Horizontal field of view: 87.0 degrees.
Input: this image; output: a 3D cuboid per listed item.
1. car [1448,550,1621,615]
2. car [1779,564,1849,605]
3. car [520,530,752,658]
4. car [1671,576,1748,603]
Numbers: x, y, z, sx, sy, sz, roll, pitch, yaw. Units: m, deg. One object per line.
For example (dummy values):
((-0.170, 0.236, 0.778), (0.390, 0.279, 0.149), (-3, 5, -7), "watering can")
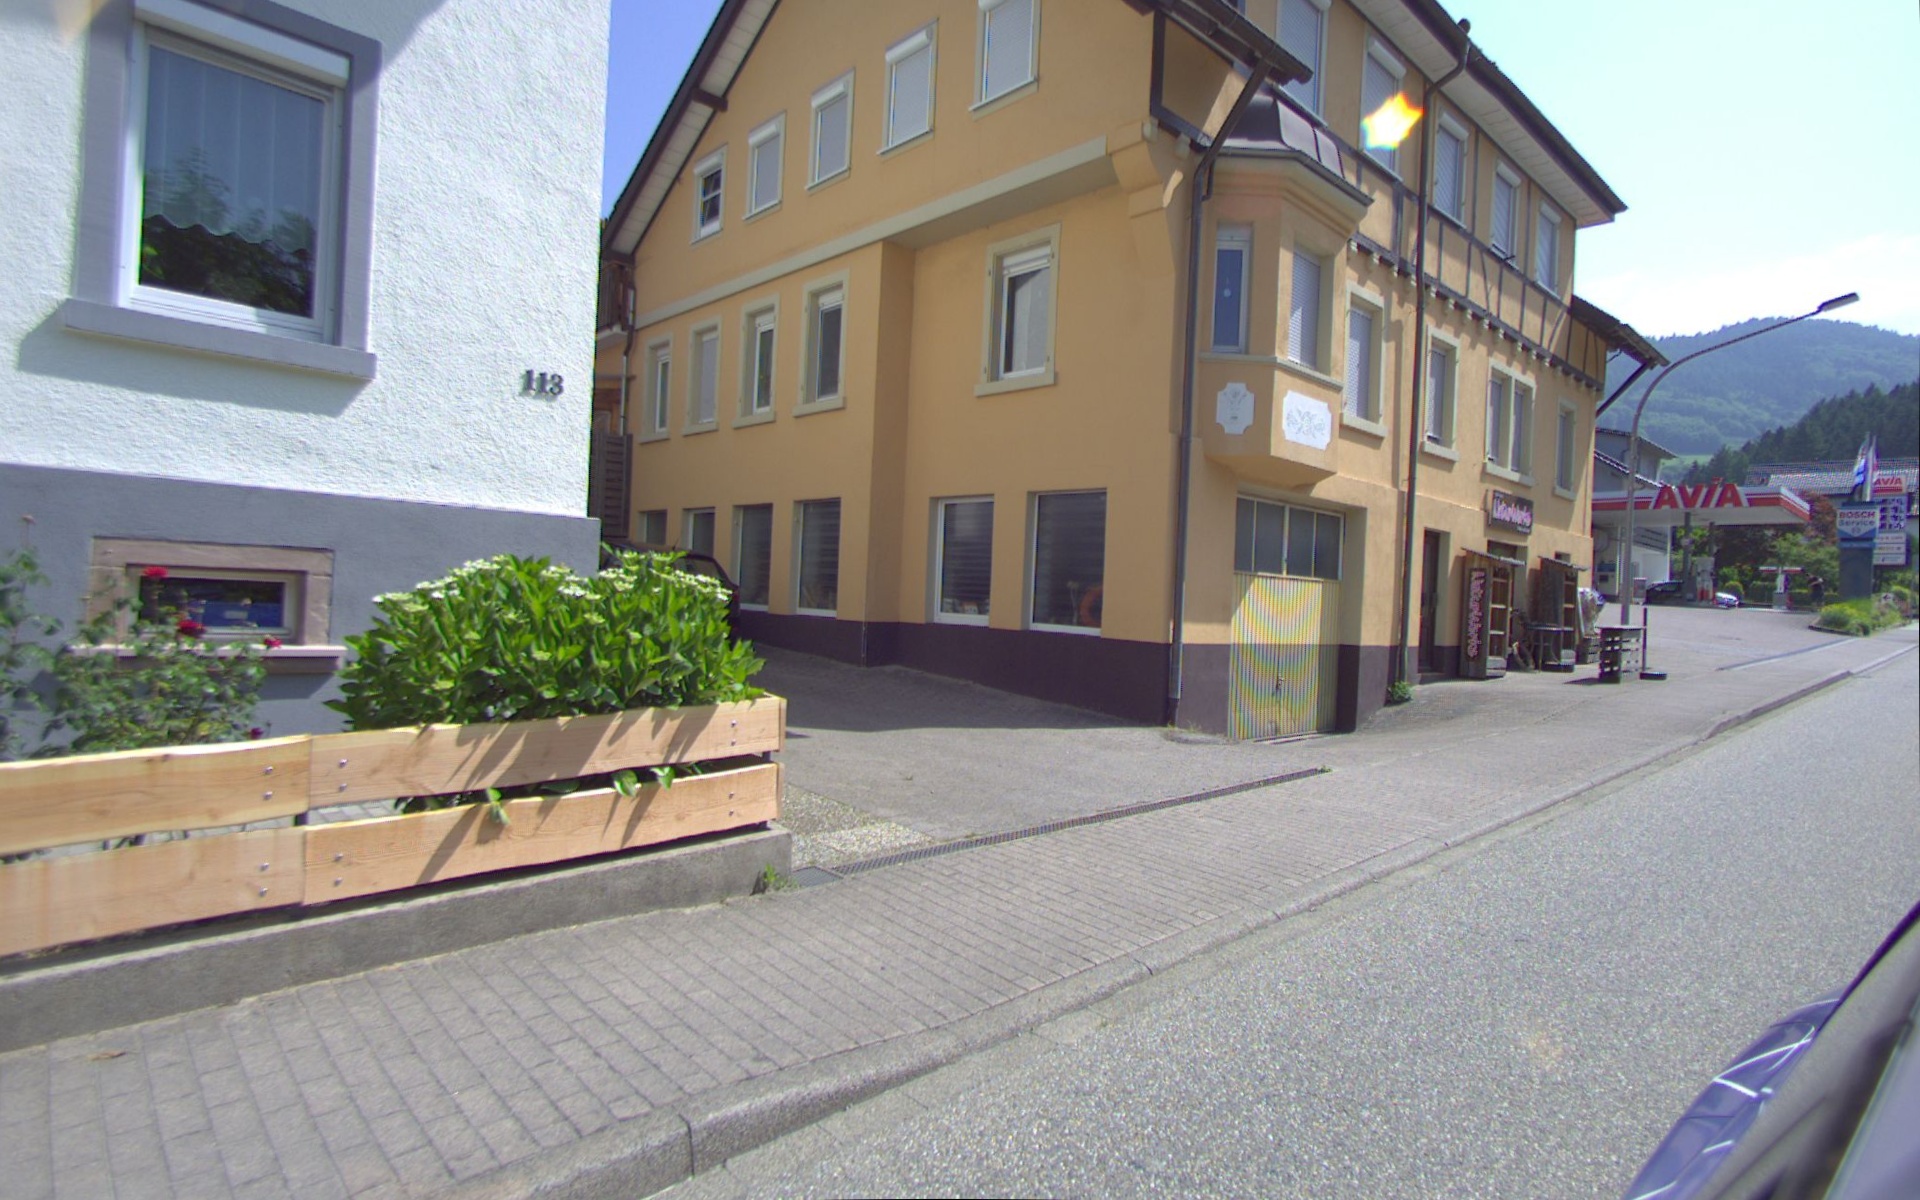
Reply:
((17.644, -0.605, 31.173), (4.314, 1.562, 1.775), (8, 6, 39), "car")
((37.264, -0.693, 44.146), (3.844, 1.595, 1.696), (-1, 7, -42), "car")
((-4.631, -0.179, 14.144), (1.569, 1.392, 3.819), (-1, 6, -44), "car")
((40.678, -0.574, 54.958), (1.313, 1.157, 3.079), (-1, 7, -43), "car")
